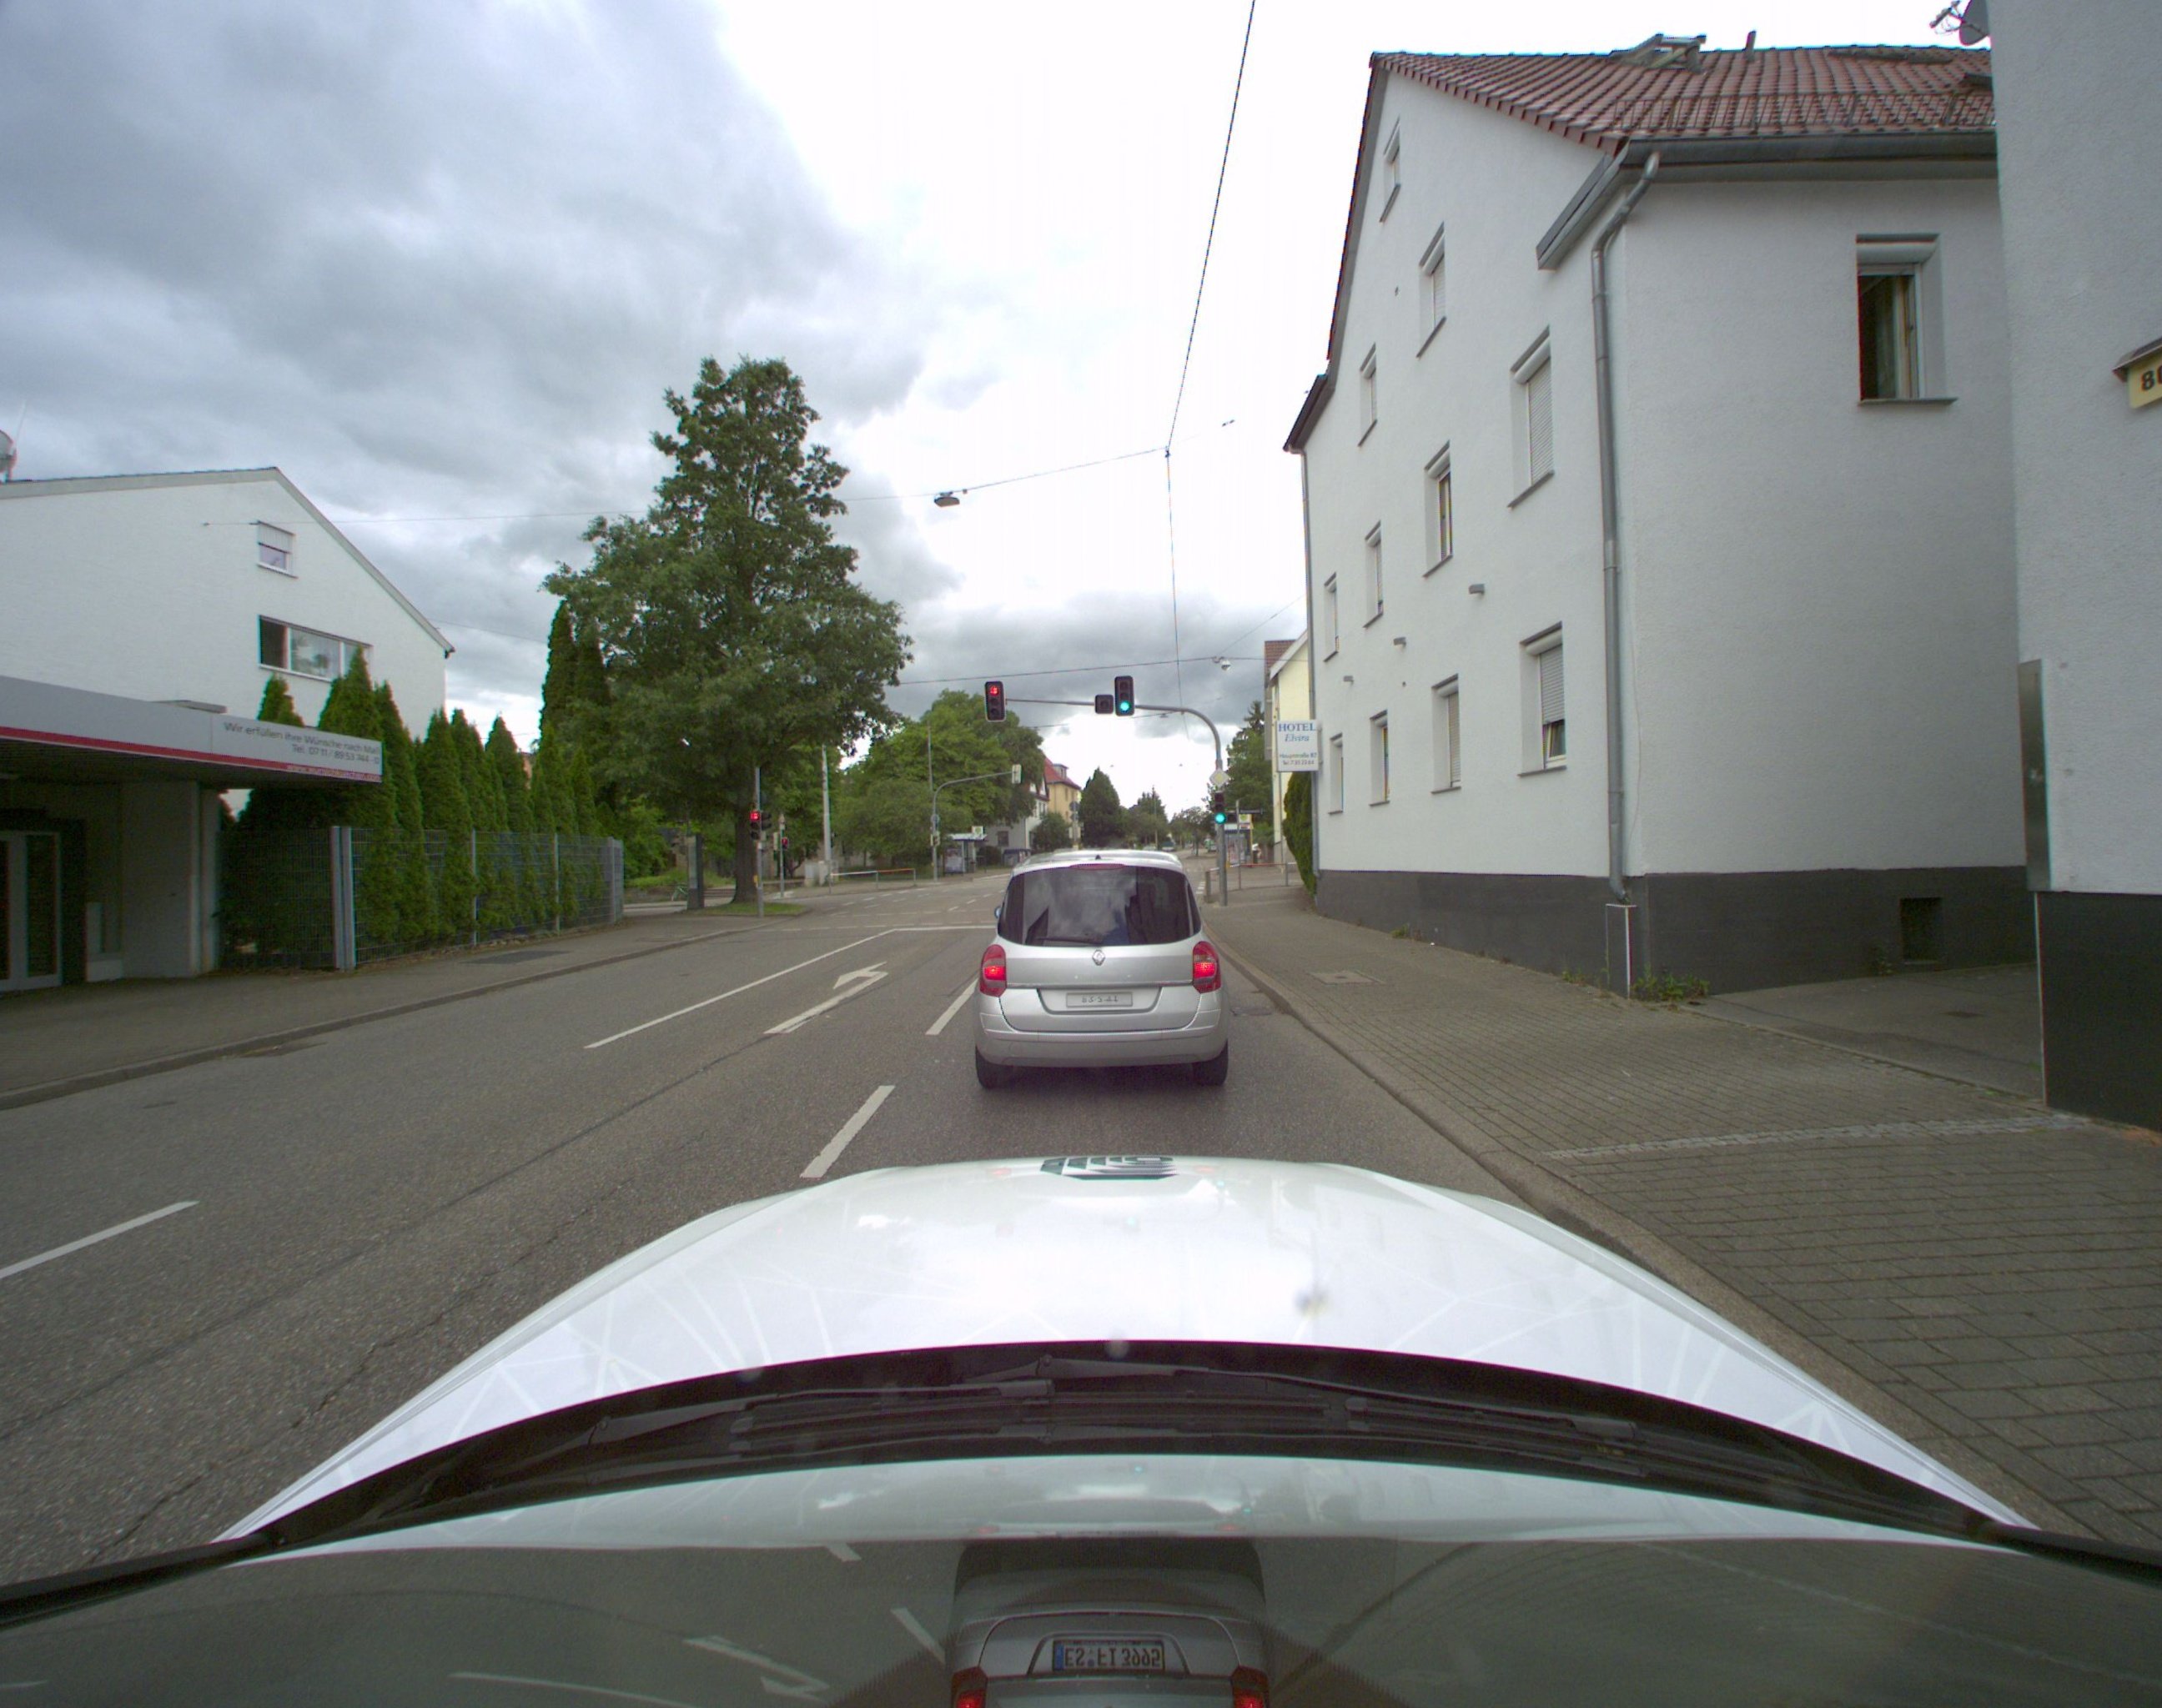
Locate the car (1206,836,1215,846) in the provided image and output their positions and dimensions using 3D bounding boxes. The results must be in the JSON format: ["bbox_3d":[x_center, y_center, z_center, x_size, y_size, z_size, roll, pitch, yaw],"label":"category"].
[{"bbox_3d":[37.565,-3.733,235.462,2.044,2.512,5.616,-1,0,14],"label":"car"}]

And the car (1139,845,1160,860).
[{"bbox_3d":[8.133,-0.155,96.487,1.844,1.748,4.015,-1,0,13],"label":"car"}]

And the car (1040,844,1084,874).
[{"bbox_3d":[-1.224,0.284,54.372,1.913,1.773,4.013,-6,-1,12],"label":"car"}]

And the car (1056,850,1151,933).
[{"bbox_3d":[0.474,0.710,17.175,1.748,1.530,3.798,-1,0,1],"label":"car"}]

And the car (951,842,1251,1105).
[{"bbox_3d":[0.168,0.711,6.811,1.748,1.530,4.001,-1,0,1],"label":"car"}]

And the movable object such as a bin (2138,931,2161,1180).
[{"bbox_3d":[4.328,0.750,2.858,0.538,0.941,0.487,-4,-1,2],"label":"movable object such as a bin"}]

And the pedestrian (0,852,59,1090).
[{"bbox_3d":[-8.306,0.857,5.785,0.749,1.743,1.019,1,0,1],"label":"pedestrian"}]

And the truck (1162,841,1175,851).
[{"bbox_3d":[17.886,-1.671,166.352,2.088,2.013,5.766,-1,0,11],"label":"truck"}]
